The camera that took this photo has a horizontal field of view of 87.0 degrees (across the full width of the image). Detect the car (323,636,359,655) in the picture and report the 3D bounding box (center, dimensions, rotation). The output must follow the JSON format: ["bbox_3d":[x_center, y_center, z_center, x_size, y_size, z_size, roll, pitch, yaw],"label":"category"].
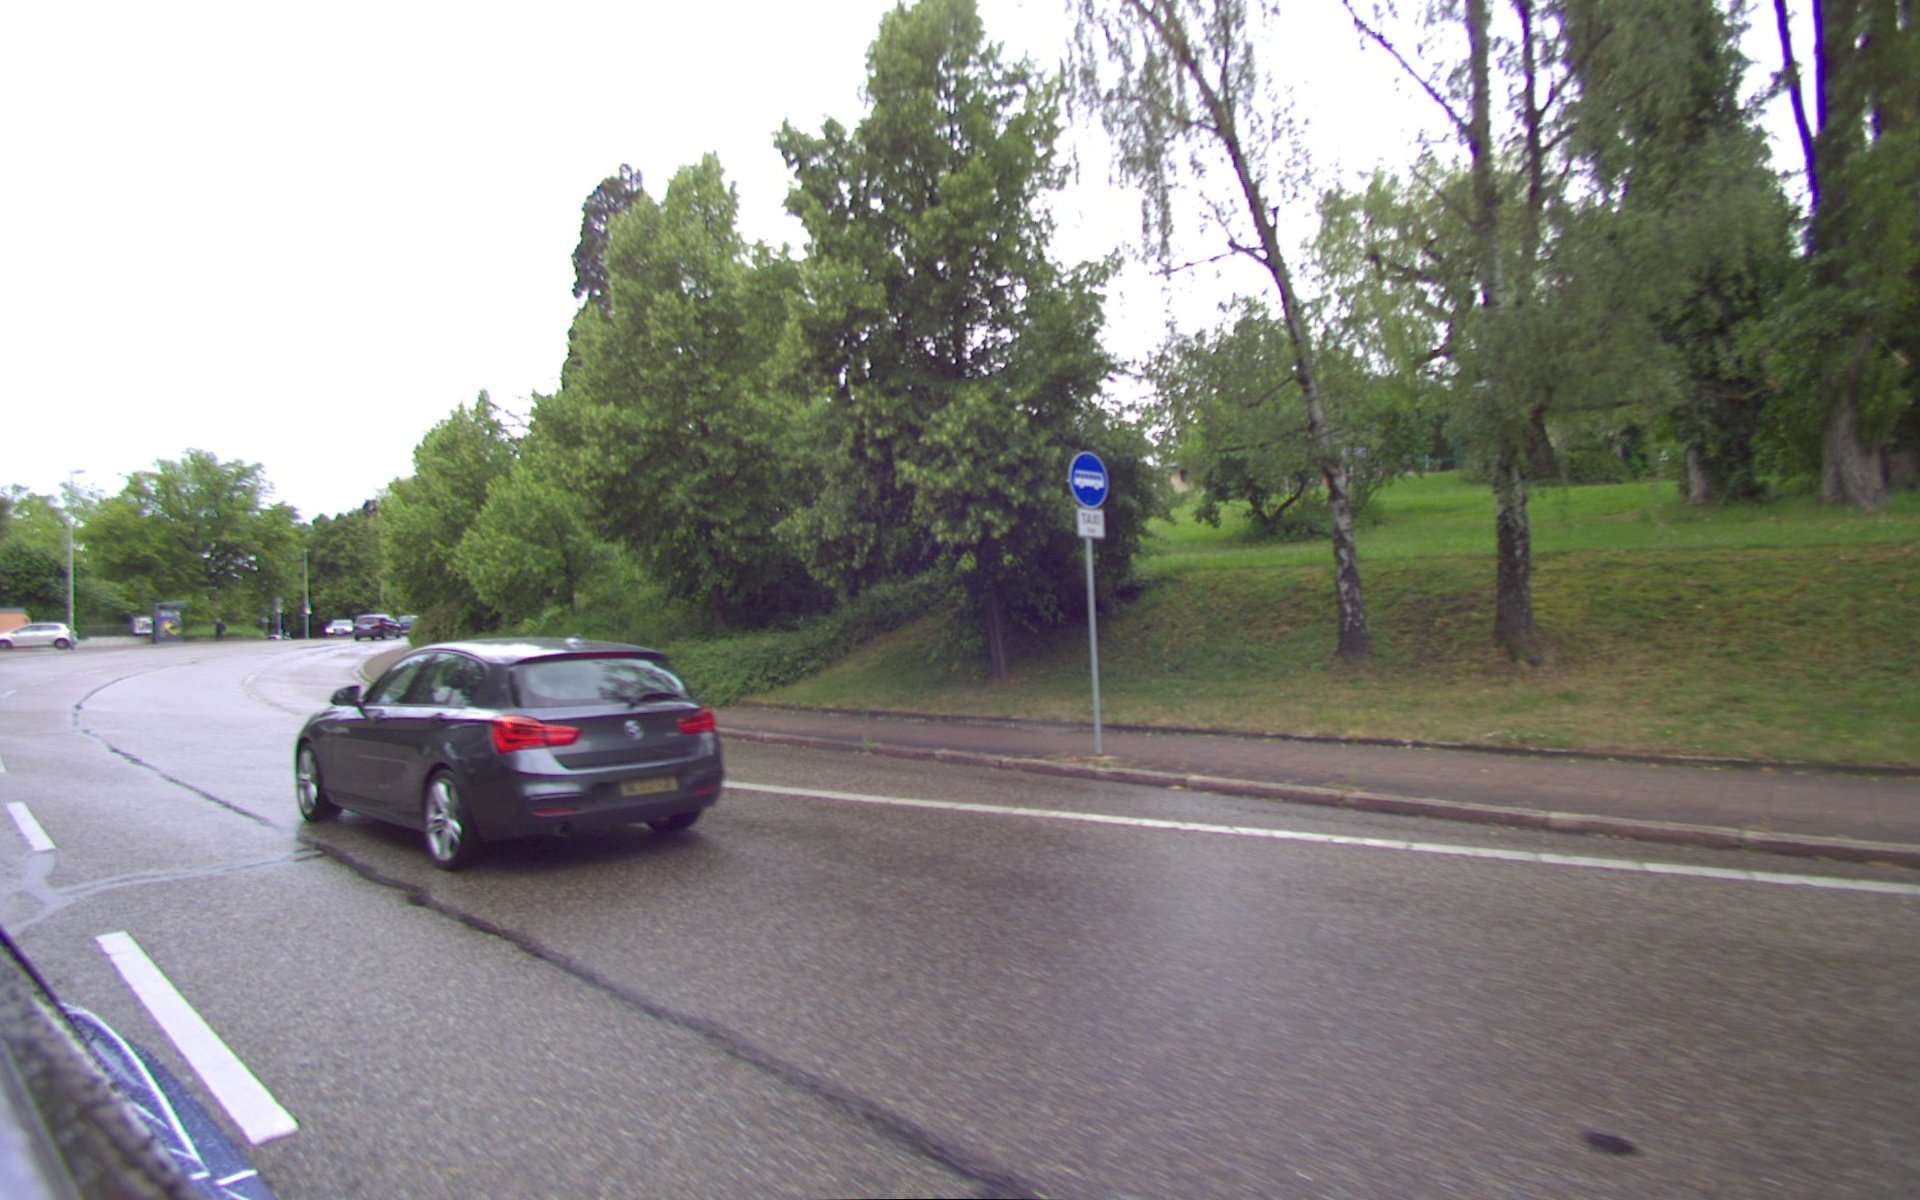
[{"bbox_3d":[-51.632,3.812,84.451,1.831,1.426,4.399,-2,-3,-22],"label":"car"}]

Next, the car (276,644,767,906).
[{"bbox_3d":[-3.398,1.074,7.452,4.137,1.394,1.703,-4,-4,41],"label":"car"}]

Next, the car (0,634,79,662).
[{"bbox_3d":[-54.598,2.832,59.708,3.807,1.578,1.730,2,-4,-38],"label":"car"}]

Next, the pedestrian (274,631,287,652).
[{"bbox_3d":[-56.794,3.453,84.623,0.713,1.746,0.821,-1,-2,-17],"label":"pedestrian"}]

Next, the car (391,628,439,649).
[{"bbox_3d":[-40.008,2.829,74.348,1.700,1.475,4.384,-1,-2,-8],"label":"car"}]

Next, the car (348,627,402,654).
[{"bbox_3d":[-38.516,2.643,66.736,1.786,1.589,4.697,-1,-1,-13],"label":"car"}]

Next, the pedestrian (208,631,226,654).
[{"bbox_3d":[-55.487,3.200,75.551,0.912,1.667,1.101,0,-2,-28],"label":"pedestrian"}]
